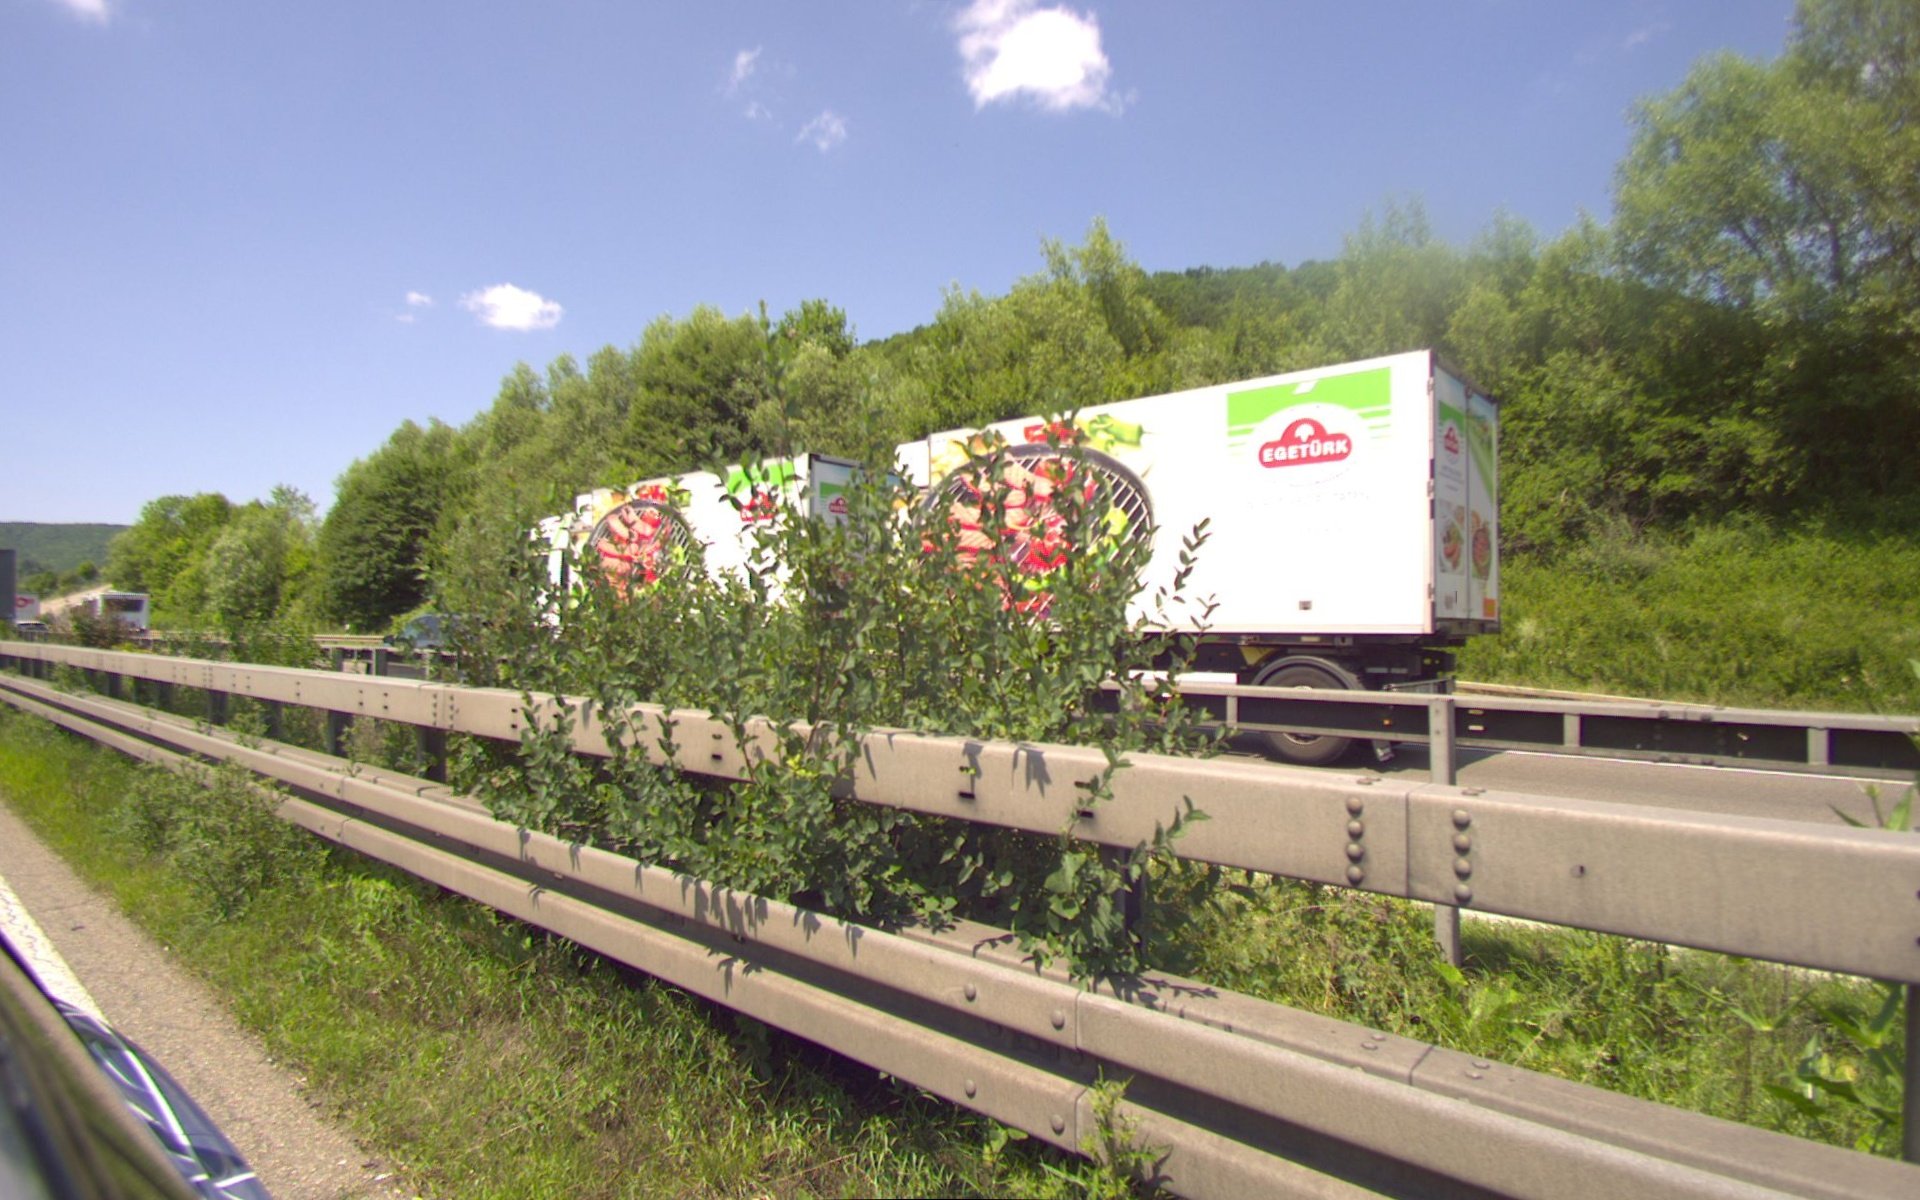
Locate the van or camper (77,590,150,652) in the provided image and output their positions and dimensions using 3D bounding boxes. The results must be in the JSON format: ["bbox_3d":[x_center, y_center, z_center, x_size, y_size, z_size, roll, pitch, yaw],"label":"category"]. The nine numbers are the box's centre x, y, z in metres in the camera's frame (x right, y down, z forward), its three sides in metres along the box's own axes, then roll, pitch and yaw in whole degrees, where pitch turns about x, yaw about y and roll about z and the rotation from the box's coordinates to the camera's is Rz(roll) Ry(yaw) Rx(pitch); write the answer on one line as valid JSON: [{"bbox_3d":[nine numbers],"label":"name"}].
[{"bbox_3d":[-48.452,1.201,57.865,2.560,3.361,7.653,1,-2,-44],"label":"van or camper"}]

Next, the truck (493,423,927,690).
[{"bbox_3d":[-5.350,-0.574,19.703,10.164,4.036,2.840,-1,-1,41],"label":"truck"}]

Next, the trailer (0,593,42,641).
[{"bbox_3d":[-85.663,1.532,91.215,14.153,4.030,2.753,-1,-1,41],"label":"trailer"}]

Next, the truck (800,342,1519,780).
[{"bbox_3d":[1.963,-0.259,13.287,9.026,4.011,2.839,-1,-3,41],"label":"truck"}]

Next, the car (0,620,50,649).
[{"bbox_3d":[-50.477,1.839,54.376,4.533,1.475,1.779,-1,-1,40],"label":"car"}]

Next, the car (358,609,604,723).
[{"bbox_3d":[-8.283,1.026,17.274,5.029,1.653,1.973,-1,-1,41],"label":"car"}]
